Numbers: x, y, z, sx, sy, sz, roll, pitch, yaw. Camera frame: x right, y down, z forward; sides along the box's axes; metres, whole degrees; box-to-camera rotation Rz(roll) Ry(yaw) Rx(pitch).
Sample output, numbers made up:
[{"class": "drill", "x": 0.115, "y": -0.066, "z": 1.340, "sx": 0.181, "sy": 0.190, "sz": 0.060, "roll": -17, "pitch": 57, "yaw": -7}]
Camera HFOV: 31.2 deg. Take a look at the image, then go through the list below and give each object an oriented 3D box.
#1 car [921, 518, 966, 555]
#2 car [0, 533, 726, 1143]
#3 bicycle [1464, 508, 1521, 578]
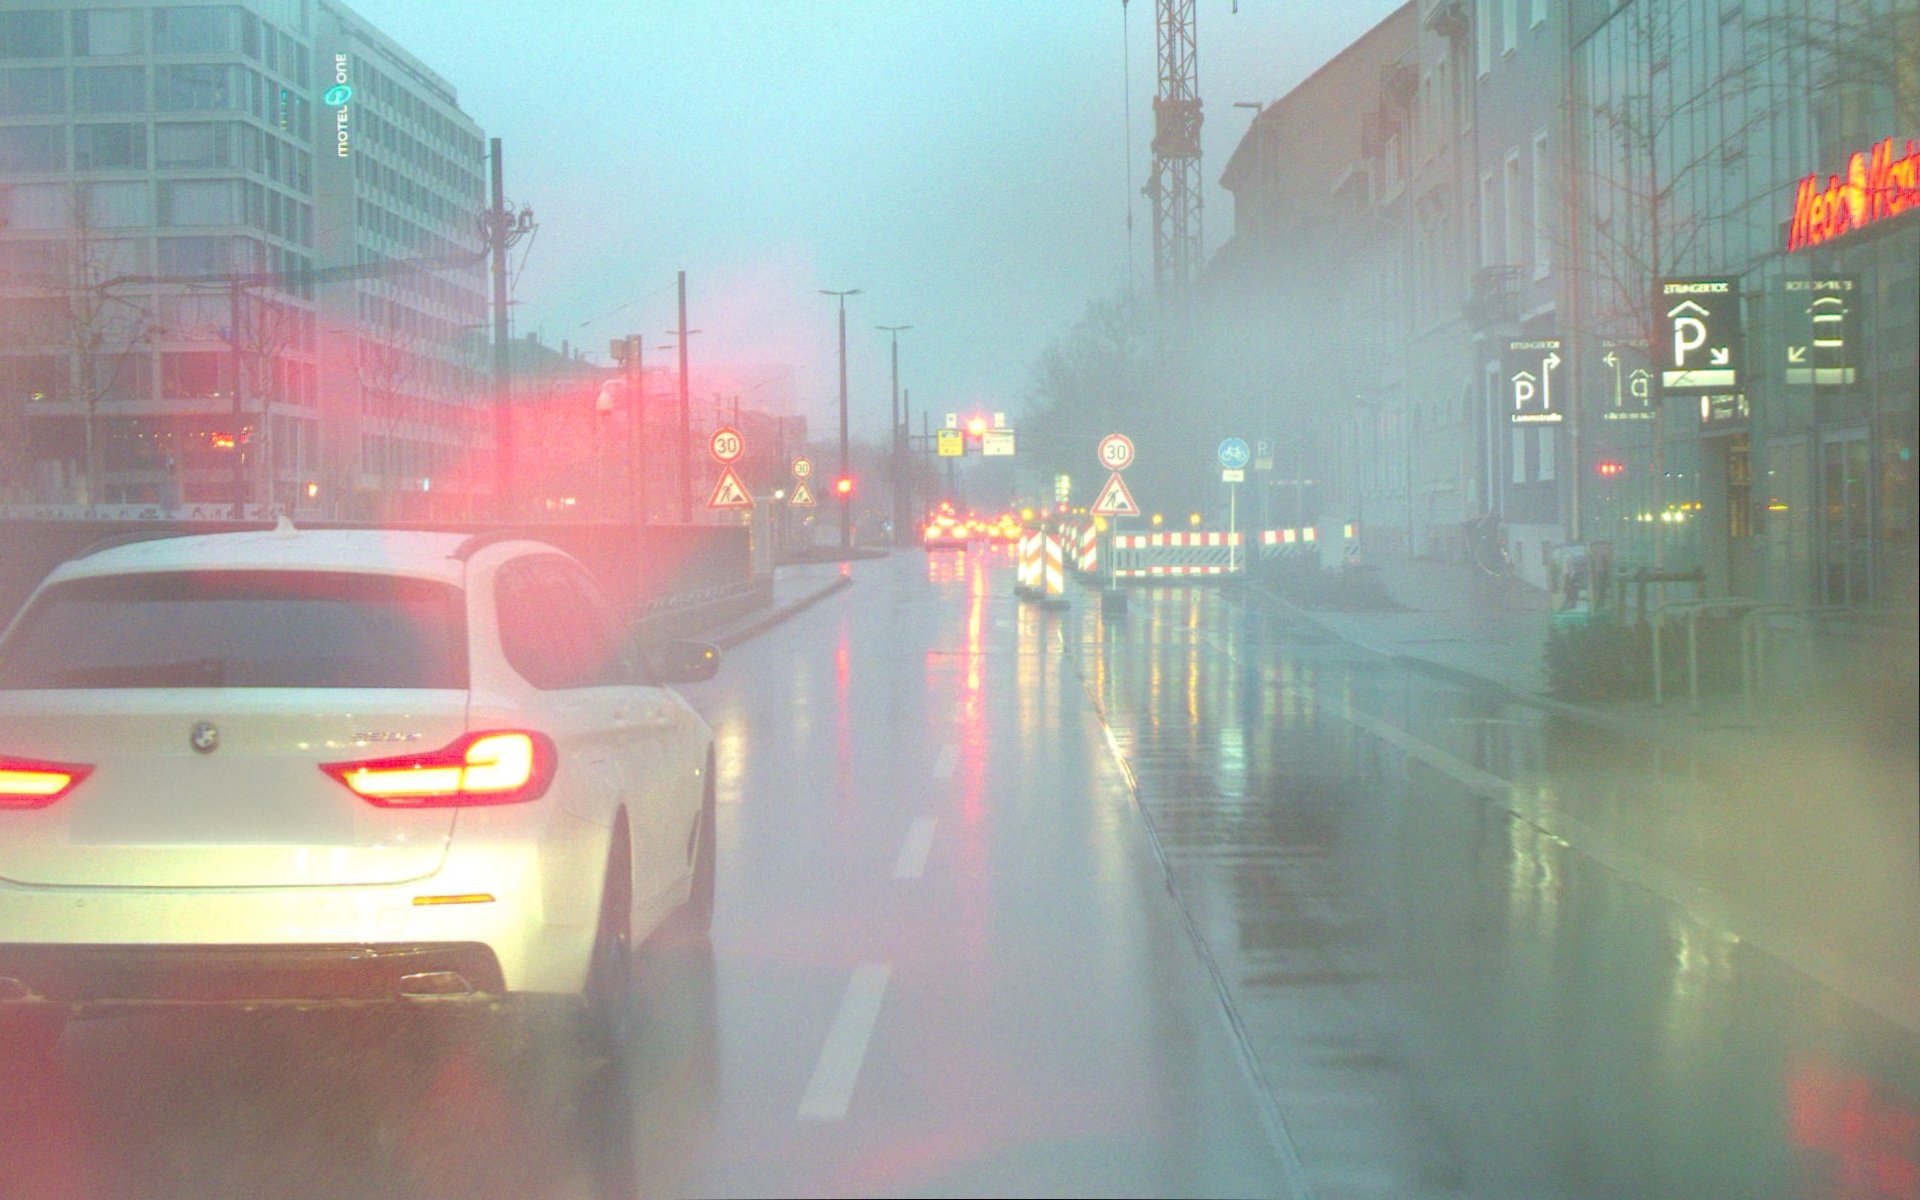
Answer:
[{"class": "car", "x": -0.730, "y": -2.818, "z": 152.253, "sx": 1.901, "sy": 1.636, "sz": 4.000, "roll": 0, "pitch": 1, "yaw": 1}, {"class": "car", "x": -1.849, "y": 0.529, "z": 10.810, "sx": 1.852, "sy": 1.460, "sz": 4.947, "roll": 0, "pitch": 1, "yaw": 0}, {"class": "bicycle", "x": 9.745, "y": -1.045, "z": 62.986, "sx": 0.682, "sy": 1.218, "sz": 1.905, "roll": -4, "pitch": 1, "yaw": 0}]
